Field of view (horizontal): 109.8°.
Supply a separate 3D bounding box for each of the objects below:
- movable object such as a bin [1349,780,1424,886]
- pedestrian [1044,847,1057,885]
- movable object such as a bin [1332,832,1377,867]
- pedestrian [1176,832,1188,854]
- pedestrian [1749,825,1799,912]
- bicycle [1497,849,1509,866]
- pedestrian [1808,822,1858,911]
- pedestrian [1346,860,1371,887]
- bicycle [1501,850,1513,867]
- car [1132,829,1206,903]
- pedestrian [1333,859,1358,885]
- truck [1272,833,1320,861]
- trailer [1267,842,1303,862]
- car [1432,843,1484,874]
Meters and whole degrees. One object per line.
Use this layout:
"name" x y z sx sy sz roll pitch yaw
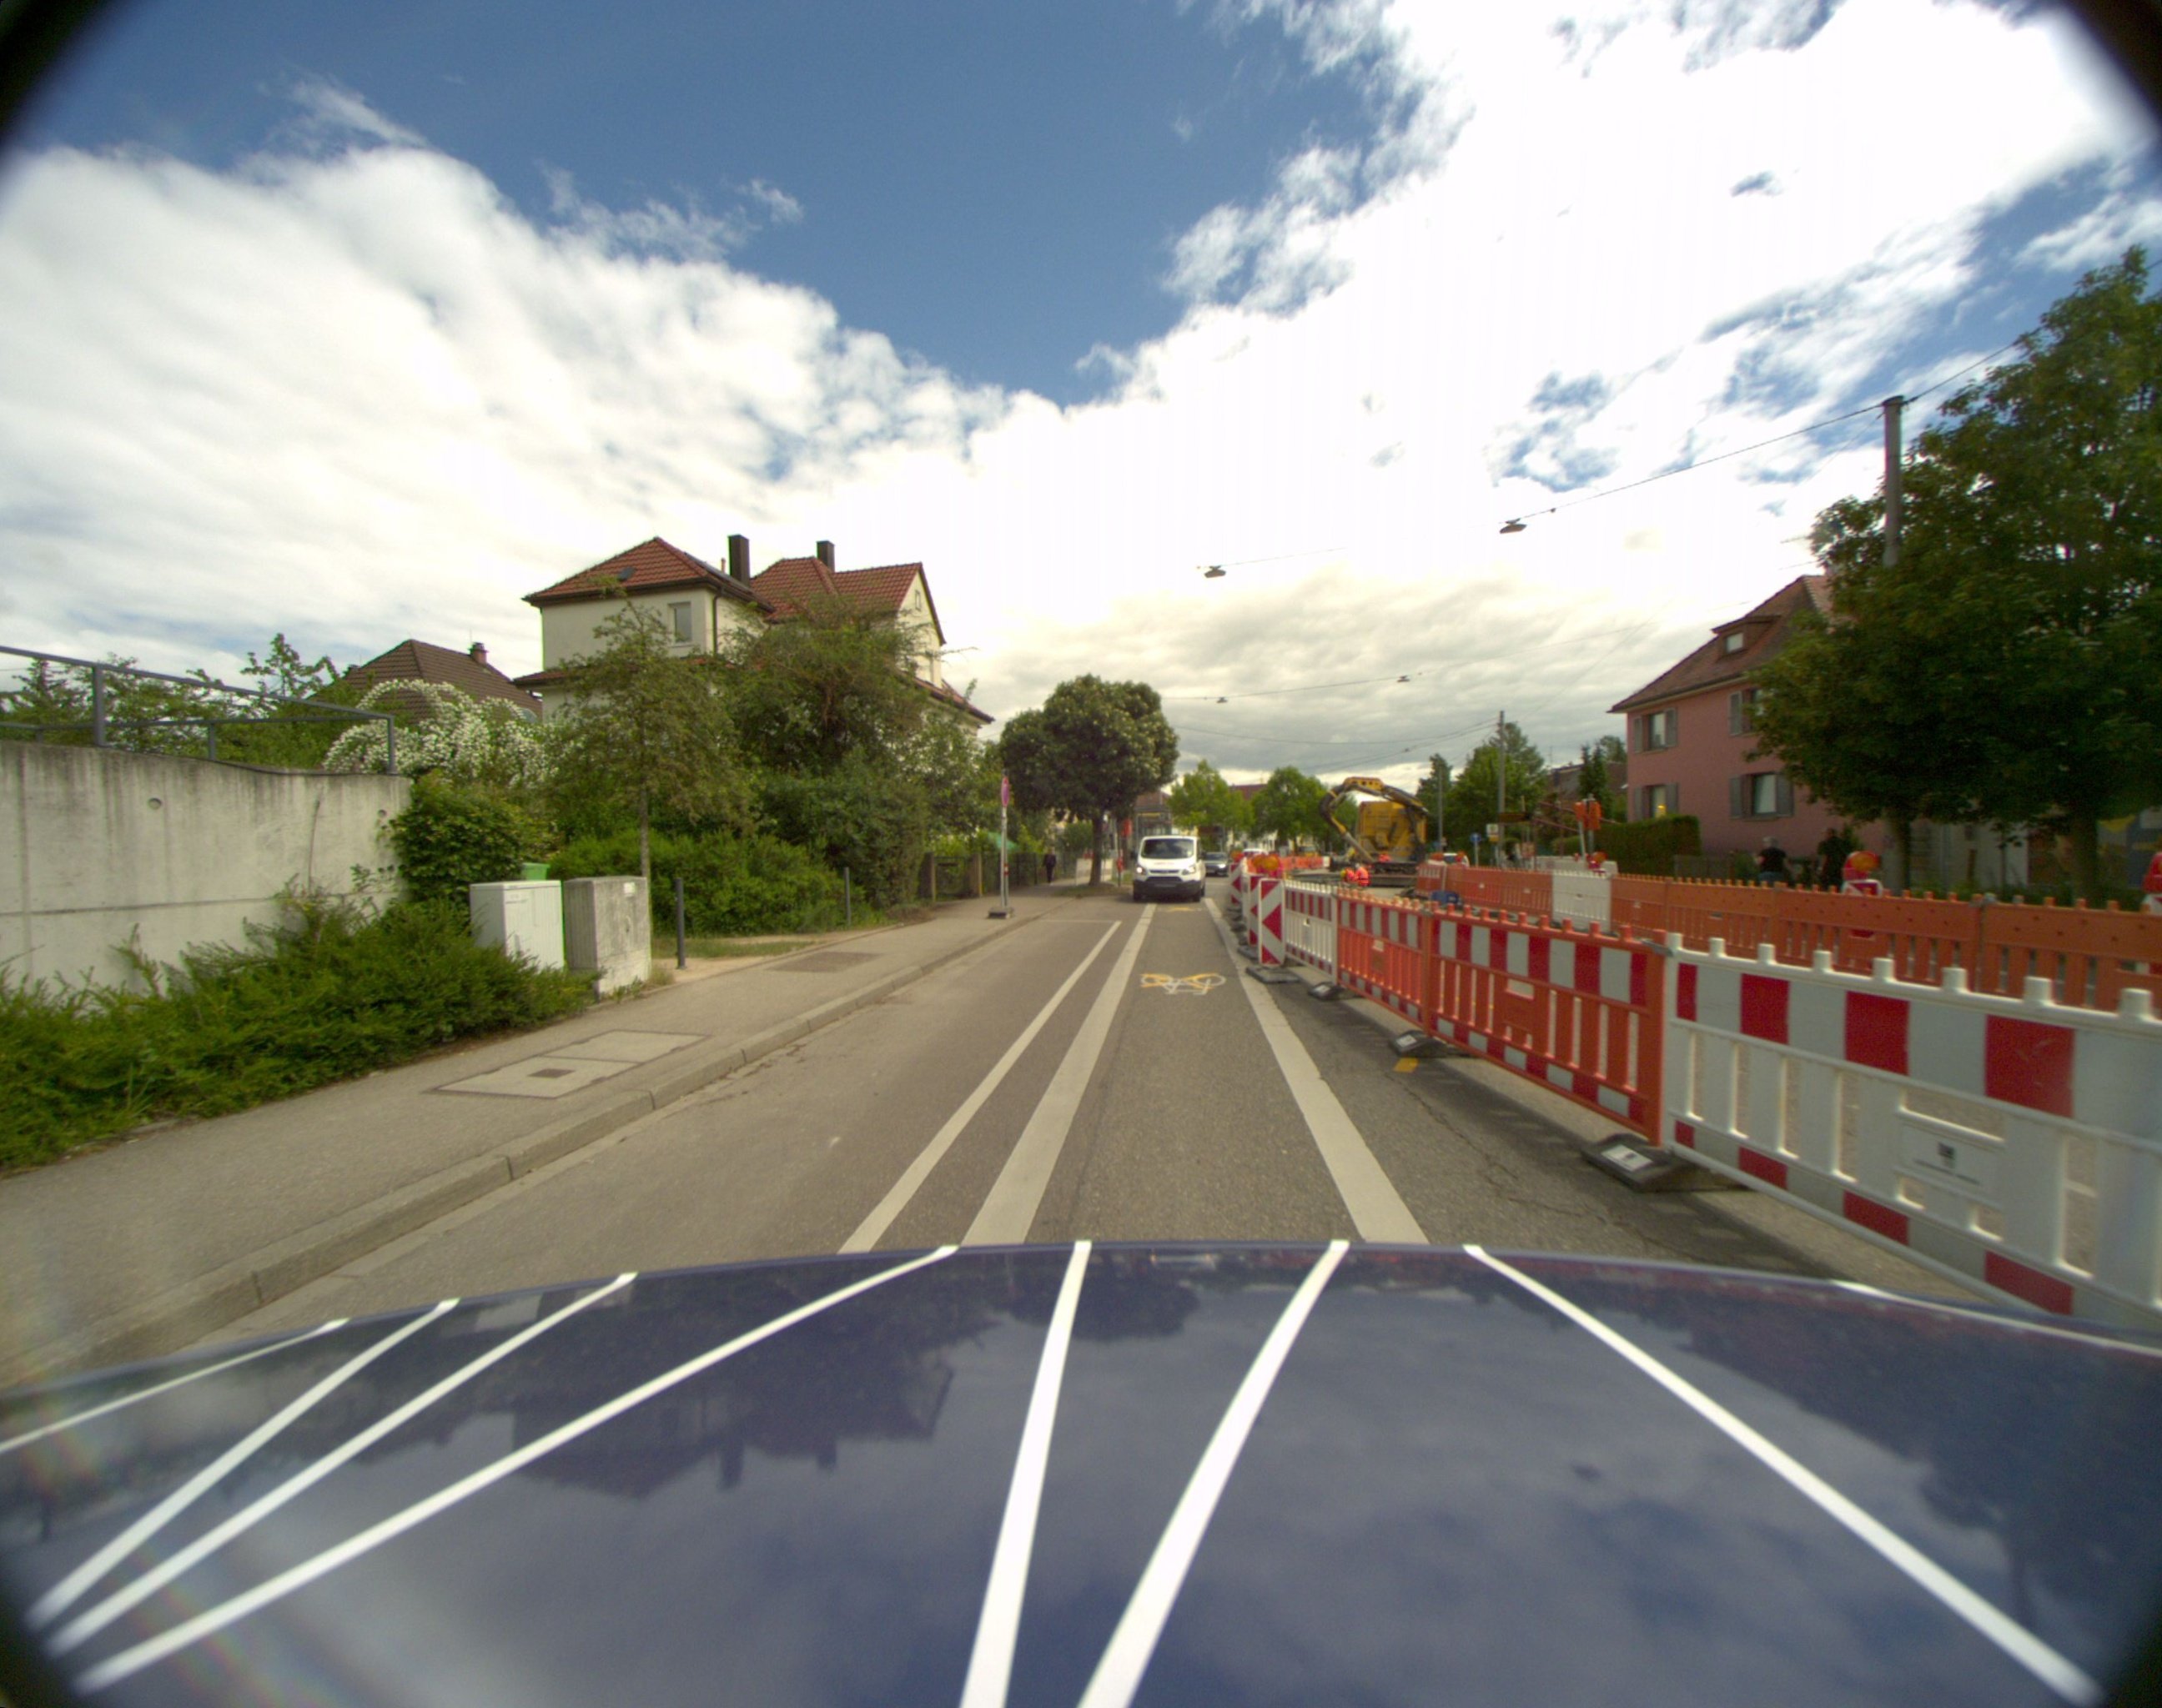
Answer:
"movable object such as a bin" 14.090 -0.884 35.793 2.594 4.197 11.135 0 1 18
"pedestrian" -1.230 0.473 31.061 0.521 1.531 0.636 0 1 -2
"movable object such as a bin" 21.771 -0.396 60.332 1.994 2.610 6.535 1 1 33
"pedestrian" 7.483 -0.820 56.330 0.598 1.573 0.402 -6 1 23
"pedestrian" 15.095 0.309 16.576 0.695 1.836 0.624 0 1 33
"bicycle" 27.818 0.237 50.073 0.538 1.076 2.135 0 1 25
"pedestrian" 15.892 0.263 16.079 0.625 1.836 0.624 0 1 33
"pedestrian" 10.722 0.739 29.334 0.641 0.985 0.795 1 1 42
"bicycle" 26.845 0.264 47.899 0.538 1.076 2.135 0 1 25
"car" 2.753 0.308 23.973 1.997 2.002 5.515 -2 1 6
"pedestrian" 10.597 0.718 30.460 0.791 0.985 0.813 1 1 32
"truck" 27.762 -0.809 98.323 2.345 3.178 6.623 0 -3 -21
"trailer" 24.629 -0.278 91.521 2.594 2.232 5.685 -3 -1 31
"car" 19.108 0.218 38.671 1.856 1.444 4.005 -1 1 19
